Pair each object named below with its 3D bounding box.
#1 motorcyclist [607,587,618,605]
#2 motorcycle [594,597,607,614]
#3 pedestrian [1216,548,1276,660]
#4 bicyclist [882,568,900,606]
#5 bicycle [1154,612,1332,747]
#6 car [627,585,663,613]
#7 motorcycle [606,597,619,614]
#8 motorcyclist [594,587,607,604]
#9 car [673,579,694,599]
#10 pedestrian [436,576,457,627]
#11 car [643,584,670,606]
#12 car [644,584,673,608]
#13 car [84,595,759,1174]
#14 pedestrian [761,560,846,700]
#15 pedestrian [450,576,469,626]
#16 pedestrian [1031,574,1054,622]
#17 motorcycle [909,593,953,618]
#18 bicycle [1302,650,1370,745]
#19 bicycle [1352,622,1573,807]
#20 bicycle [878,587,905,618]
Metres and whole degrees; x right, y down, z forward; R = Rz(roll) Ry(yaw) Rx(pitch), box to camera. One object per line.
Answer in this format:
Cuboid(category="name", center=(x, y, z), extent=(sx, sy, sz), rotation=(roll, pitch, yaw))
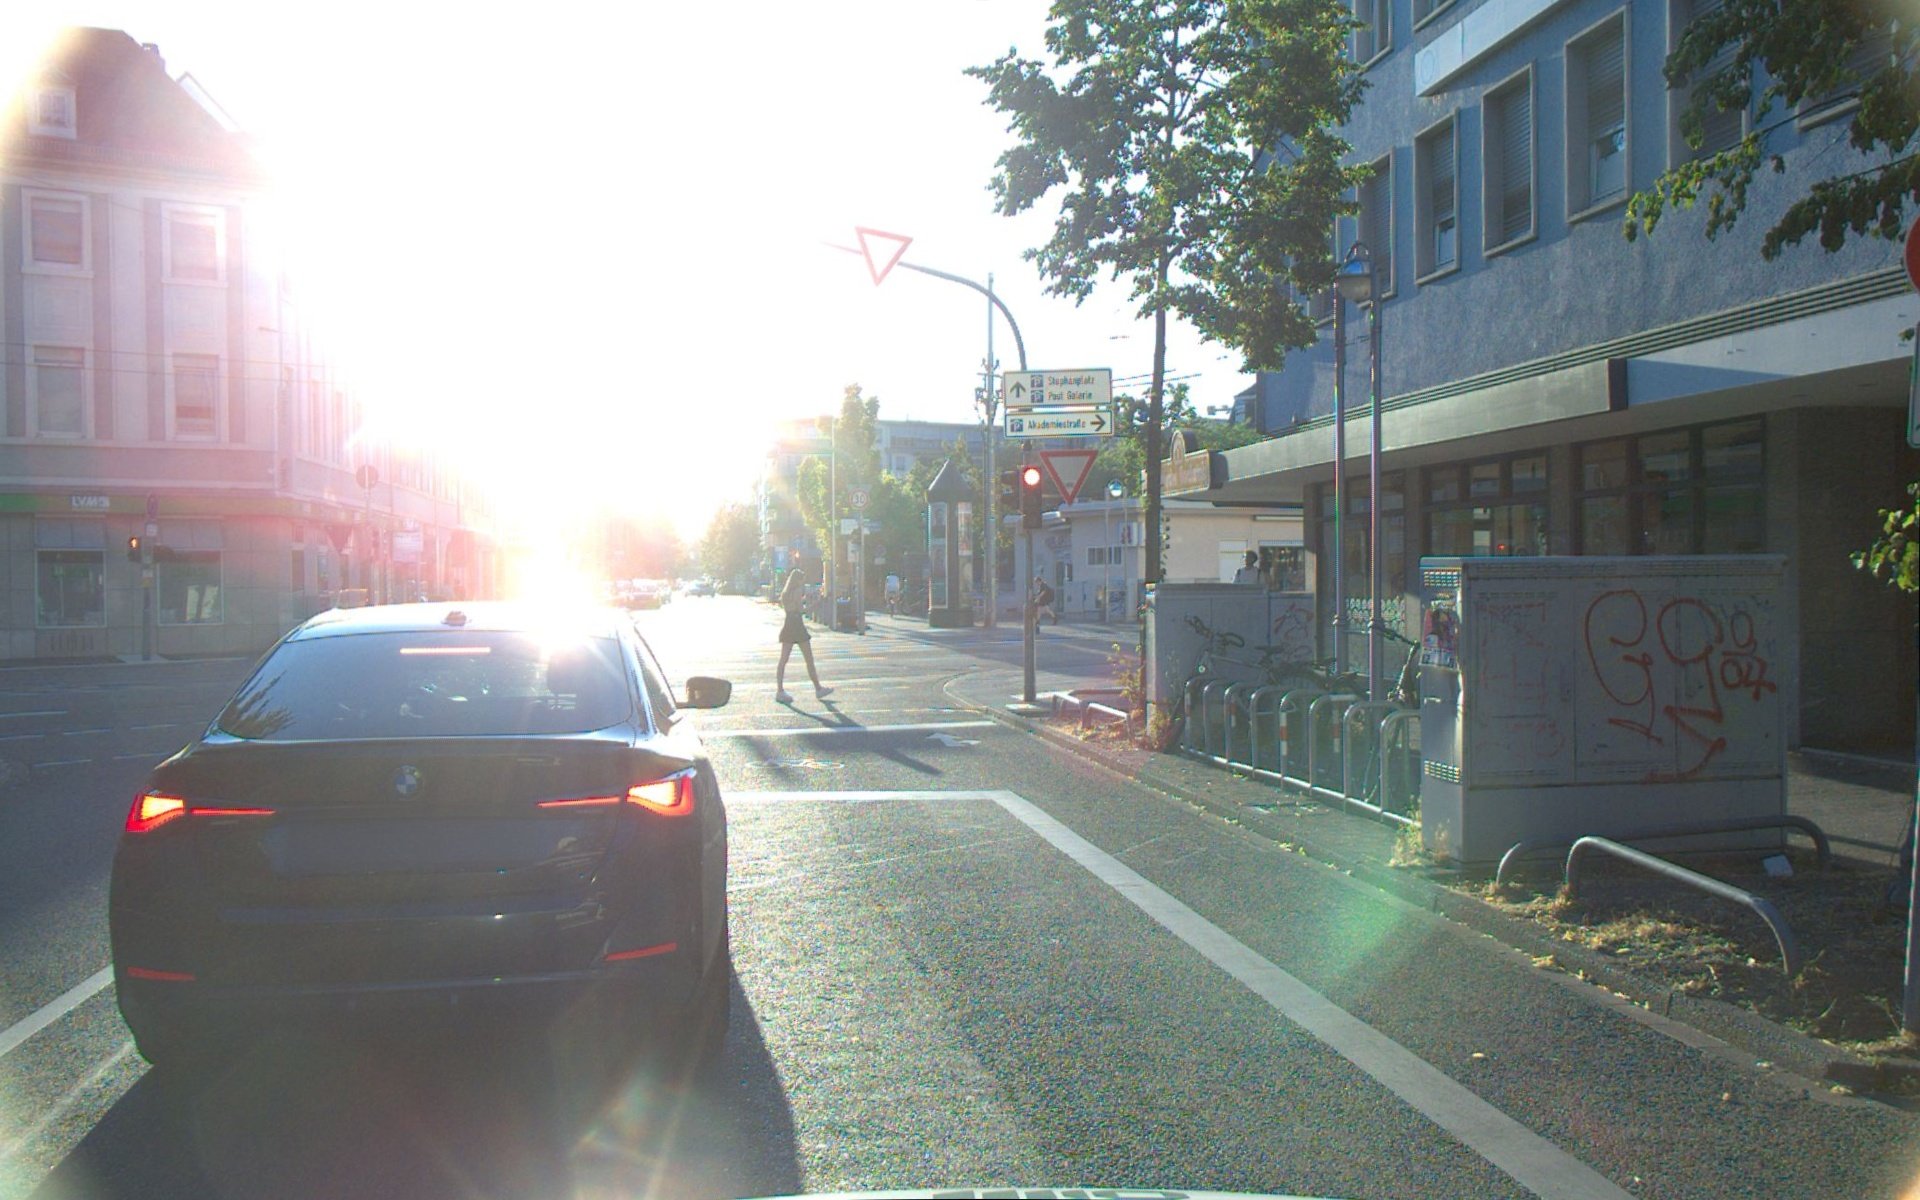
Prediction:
Cuboid(category="motorcyclist", center=(-19.599, -0.232, 93.343), extent=(0.564, 1.013, 0.701), rotation=(1, 0, -9))
Cuboid(category="motorcycle", center=(-20.384, 0.294, 93.830), extent=(0.564, 0.931, 2.196), rotation=(1, 0, -8))
Cuboid(category="pedestrian", center=(4.868, 0.056, 28.190), extent=(0.820, 1.874, 0.677), rotation=(-1, 0, -9))
Cuboid(category="bicyclist", center=(-2.719, -0.517, 65.600), extent=(0.541, 1.507, 0.719), rotation=(1, 0, -17))
Cuboid(category="bicycle", center=(2.597, 0.717, 15.185), extent=(1.582, 1.191, 0.318), rotation=(-1, 0, -7))
Cuboid(category="car", center=(-17.941, -0.065, 94.348), extent=(1.784, 1.545, 3.992), rotation=(-1, 1, -9))
Cuboid(category="motorcycle", center=(-19.619, 0.309, 93.443), extent=(0.564, 0.931, 2.196), rotation=(1, 0, -8))
Cuboid(category="motorcyclist", center=(-20.378, -0.247, 93.851), extent=(0.564, 0.931, 2.196), rotation=(1, 0, -8))
Cuboid(category="car", center=(-26.210, -1.079, 156.933), extent=(1.737, 1.881, 3.995), rotation=(-1, 1, -6))
Cuboid(category="pedestrian", center=(-19.264, 0.049, 62.074), extent=(0.631, 1.909, 0.630), rotation=(1, 0, -9))
Cuboid(category="car", center=(-22.684, -0.383, 123.645), extent=(1.784, 1.545, 3.992), rotation=(-1, 1, -9))
Cuboid(category="car", center=(-20.517, -0.285, 112.614), extent=(1.784, 1.545, 3.992), rotation=(-1, 1, -9))
Cuboid(category="car", center=(-1.744, 0.722, 6.450), extent=(1.705, 1.453, 4.214), rotation=(0, 0, -10))
Cuboid(category="pedestrian", center=(-2.160, 0.402, 22.810), extent=(0.990, 1.893, 0.634), rotation=(0, 0, -29))
Cuboid(category="pedestrian", center=(-19.220, 0.044, 63.510), extent=(0.605, 1.909, 0.676), rotation=(1, 0, -13))
Cuboid(category="pedestrian", center=(2.686, -0.063, 54.058), extent=(0.717, 1.555, 0.473), rotation=(1, 0, 1))
Cuboid(category="motorcycle", center=(-1.188, 0.218, 67.872), extent=(1.644, 0.955, 0.851), rotation=(-1, 1, -20))
Cuboid(category="bicycle", center=(3.492, 0.895, 15.407), extent=(0.244, 0.810, 1.114), rotation=(1, 0, -7))
Cuboid(category="bicycle", center=(3.466, 0.786, 11.426), extent=(1.413, 1.241, 0.383), rotation=(1, 0, -8))
Cuboid(category="bicycle", center=(-2.706, 0.103, 65.540), extent=(0.541, 1.179, 2.134), rotation=(1, 0, -17))
